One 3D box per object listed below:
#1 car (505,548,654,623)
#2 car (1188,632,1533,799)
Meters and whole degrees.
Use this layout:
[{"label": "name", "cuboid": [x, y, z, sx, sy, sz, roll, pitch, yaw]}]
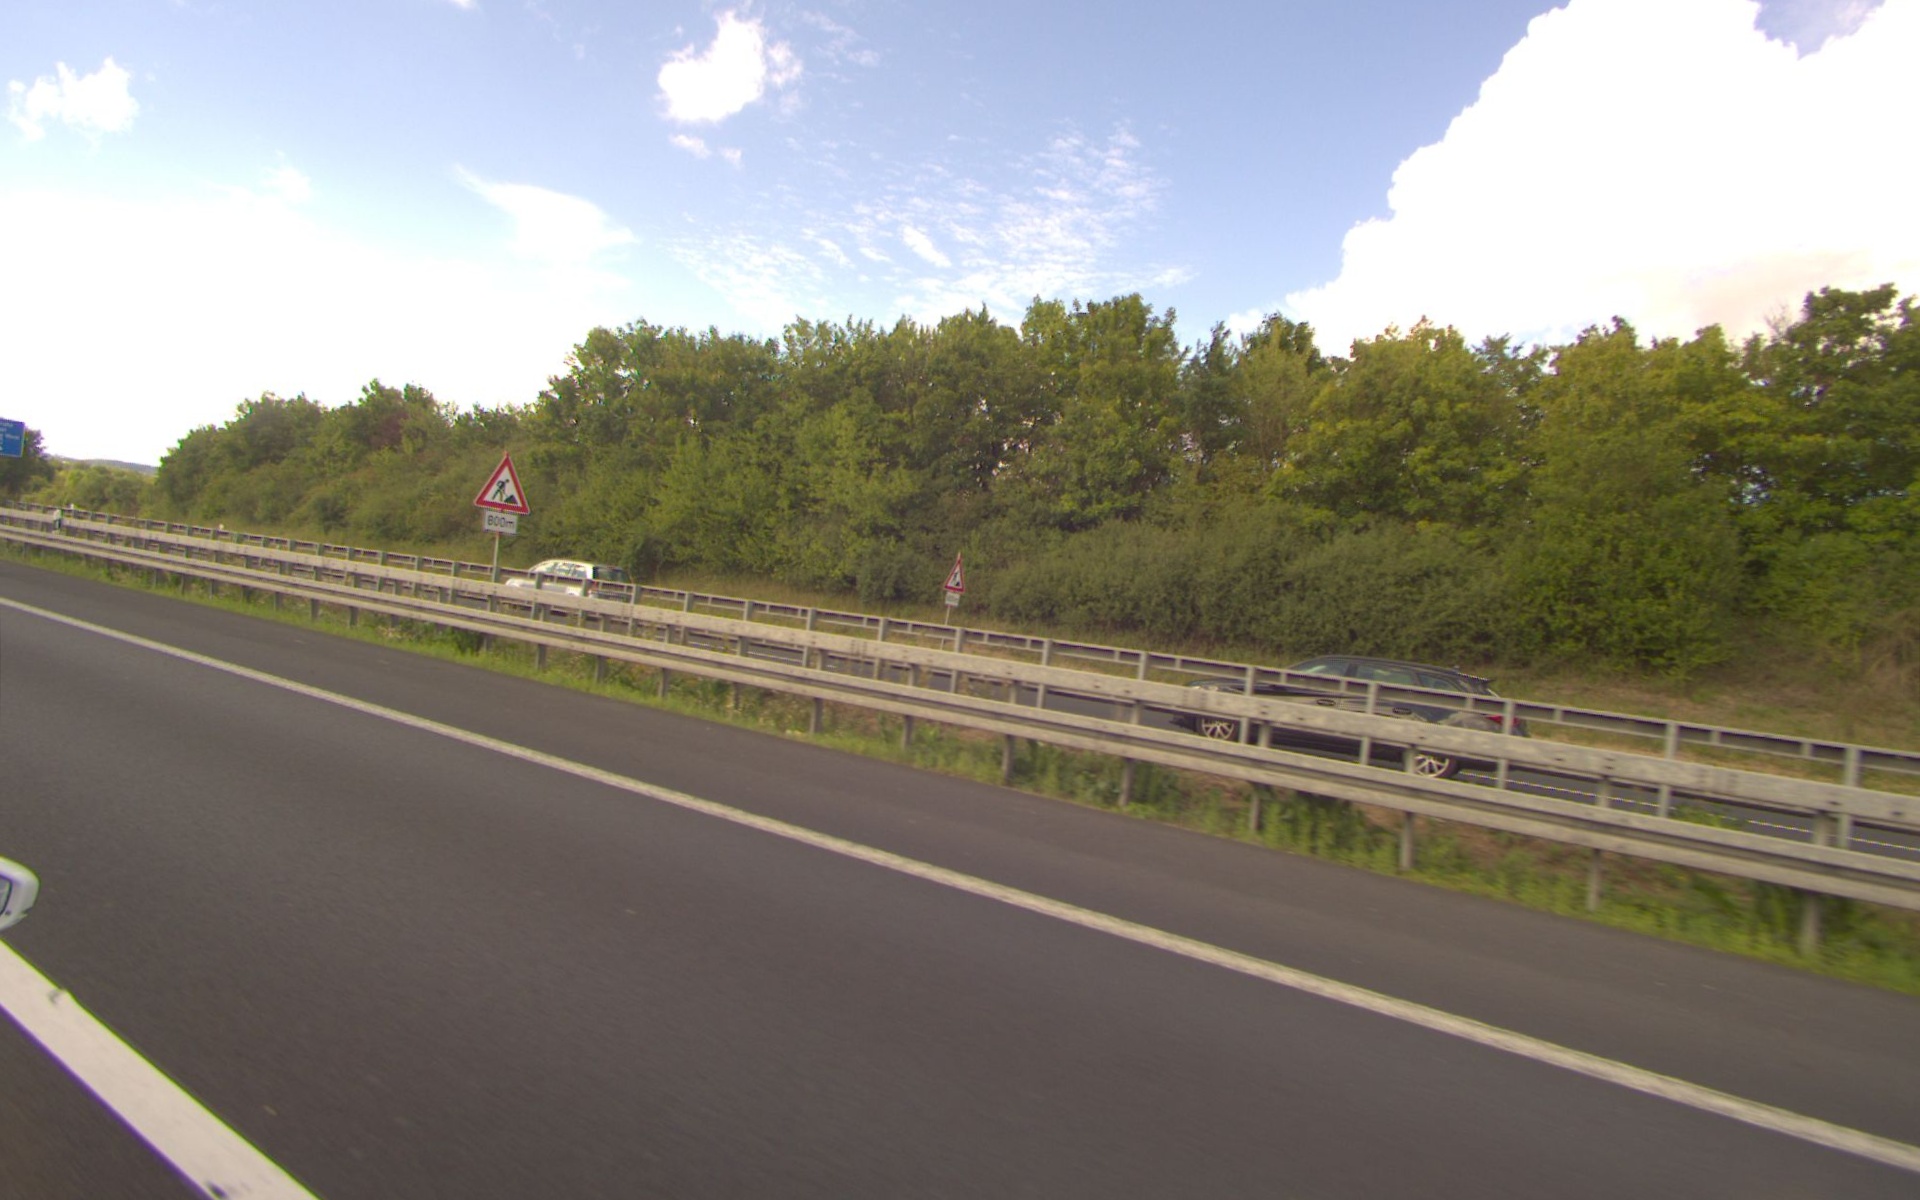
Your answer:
[{"label": "car", "cuboid": [-11.100, -0.421, 29.300, 3.934, 1.730, 1.995, 6, 1, 32]}, {"label": "car", "cuboid": [5.344, 1.442, 13.489, 3.933, 1.502, 1.996, 6, 0, 31]}]
